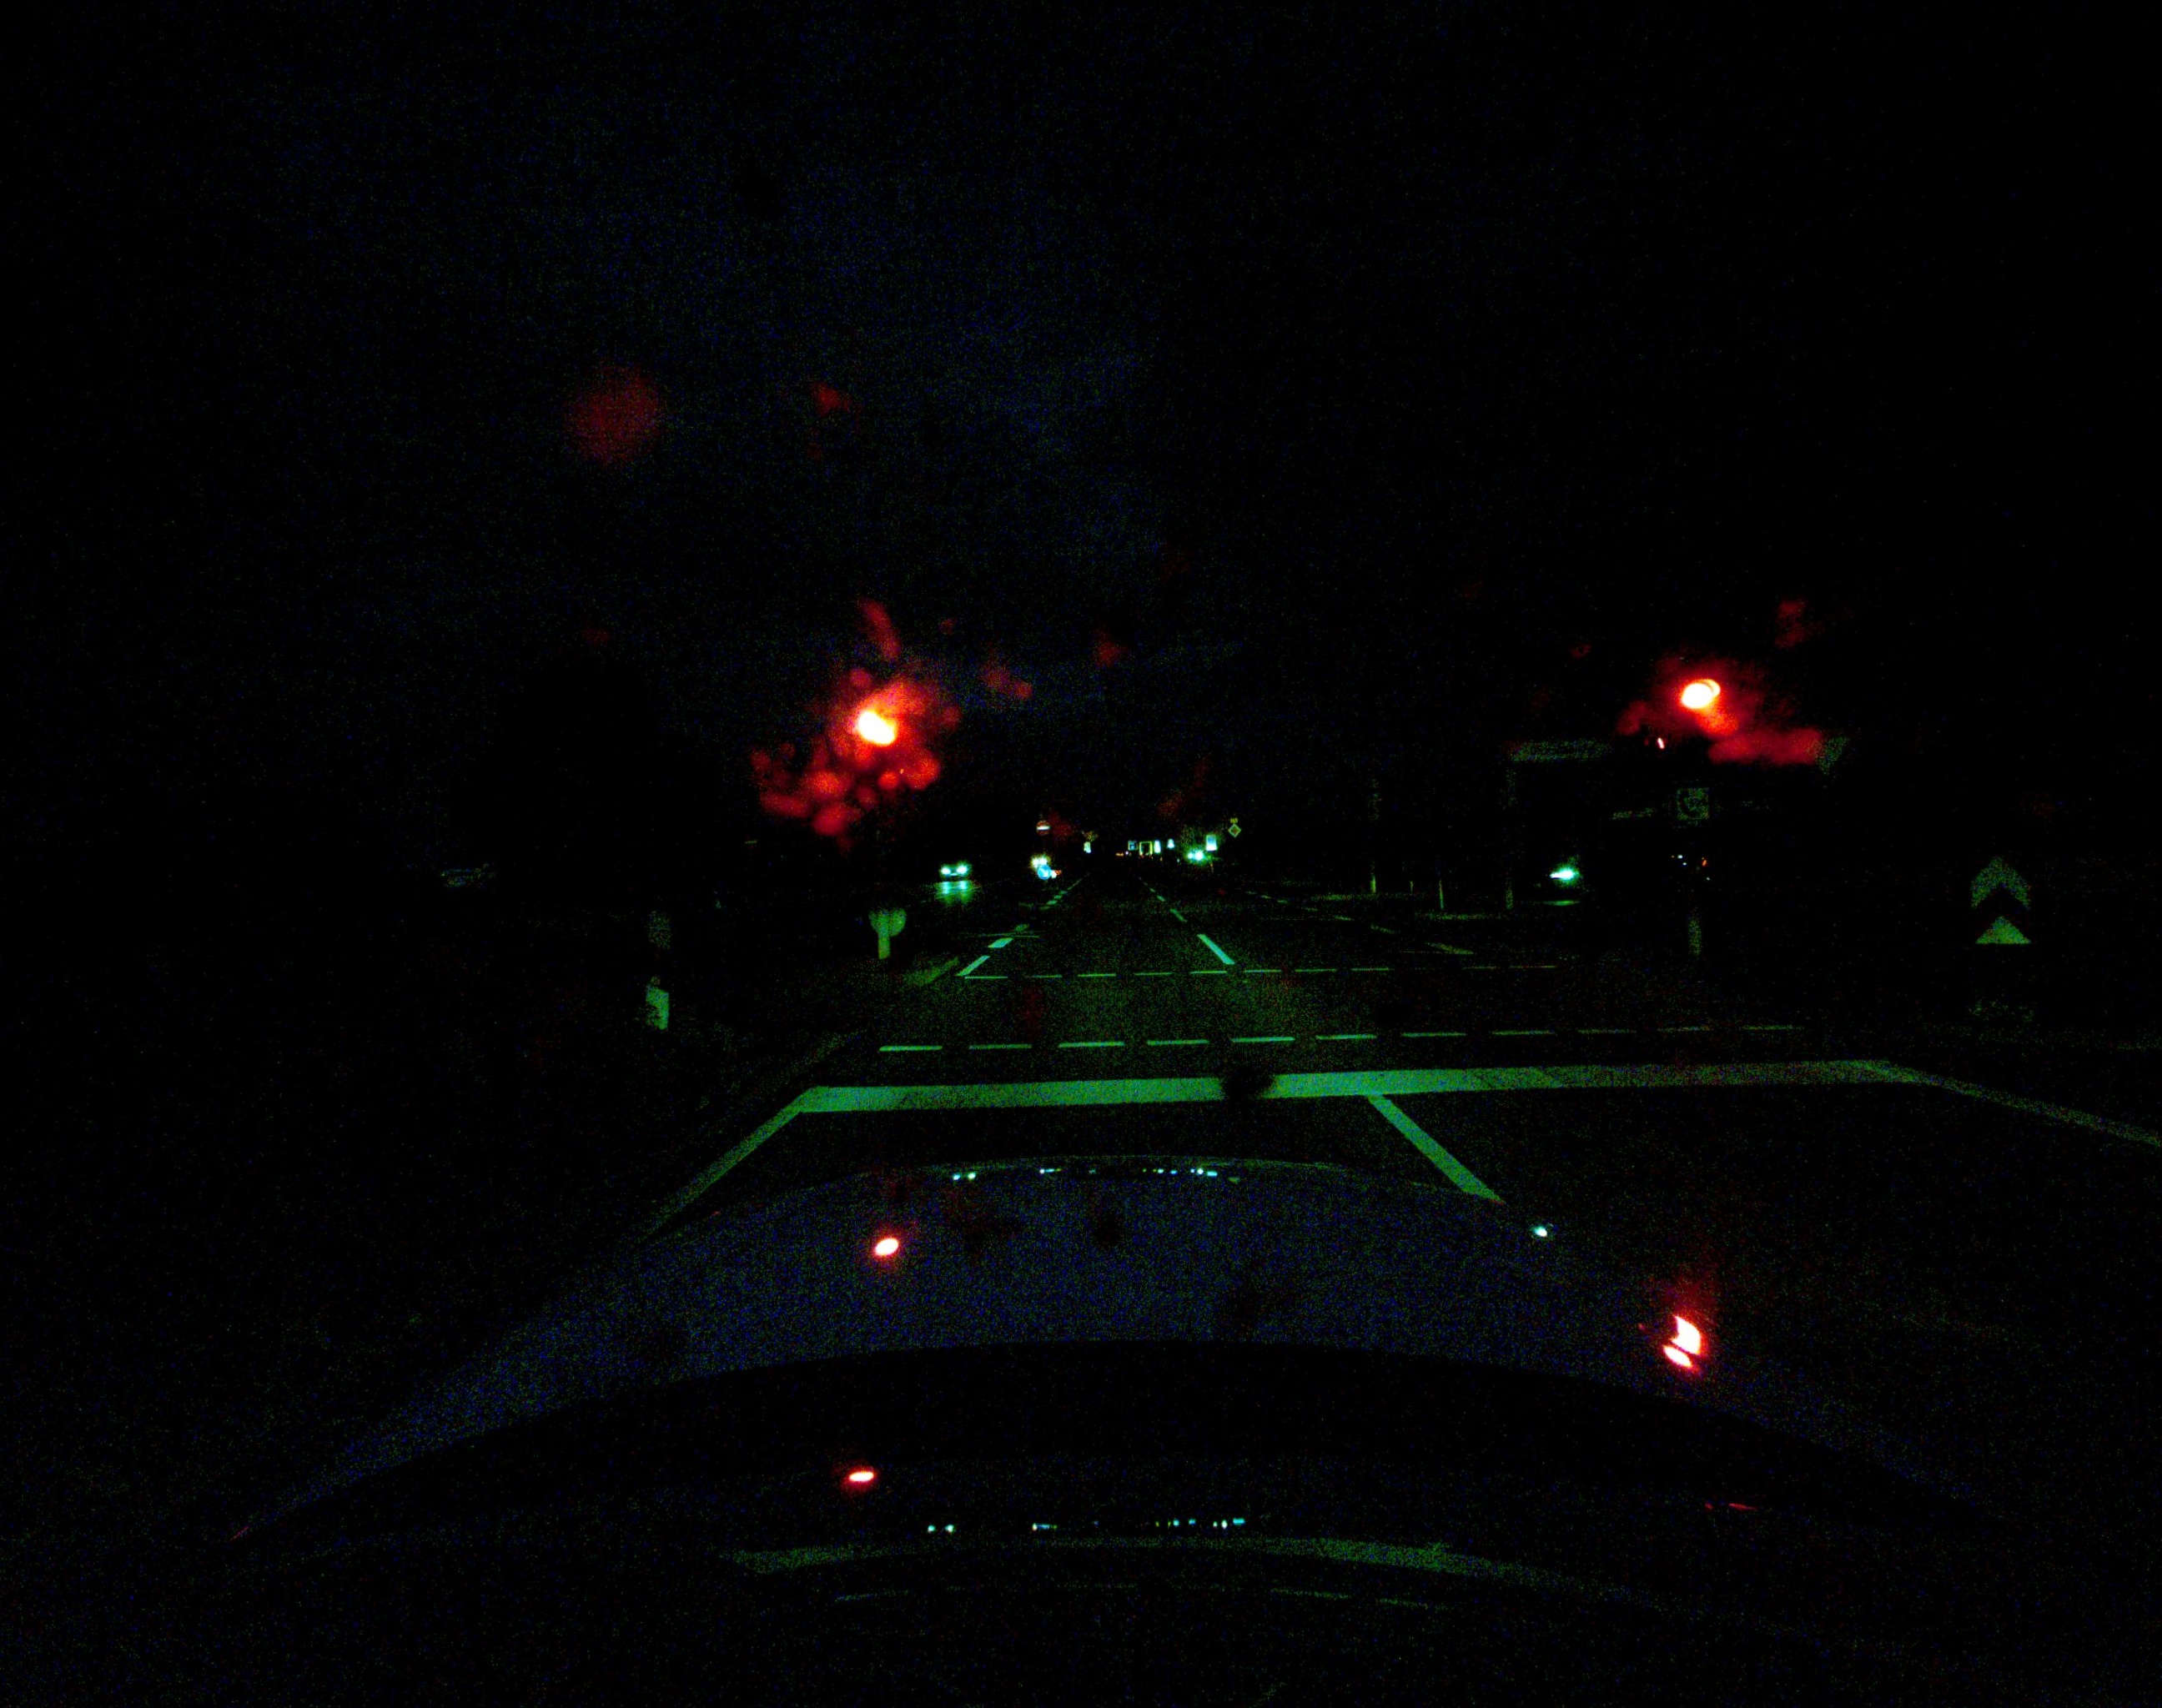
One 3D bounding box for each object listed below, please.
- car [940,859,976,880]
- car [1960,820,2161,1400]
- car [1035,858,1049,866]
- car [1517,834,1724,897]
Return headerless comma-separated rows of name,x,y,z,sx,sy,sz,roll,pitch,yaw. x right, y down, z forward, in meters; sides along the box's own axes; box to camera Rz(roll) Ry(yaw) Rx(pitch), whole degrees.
car,-9.834,1.222,65.402,1.986,1.519,4.299,-2,0,2
car,3.559,0.657,0.537,1.663,1.520,4.109,-1,0,3
car,-6.871,1.421,143.361,1.986,1.387,4.002,-2,0,2
car,15.432,0.309,23.507,4.583,1.520,2.001,-3,0,2
